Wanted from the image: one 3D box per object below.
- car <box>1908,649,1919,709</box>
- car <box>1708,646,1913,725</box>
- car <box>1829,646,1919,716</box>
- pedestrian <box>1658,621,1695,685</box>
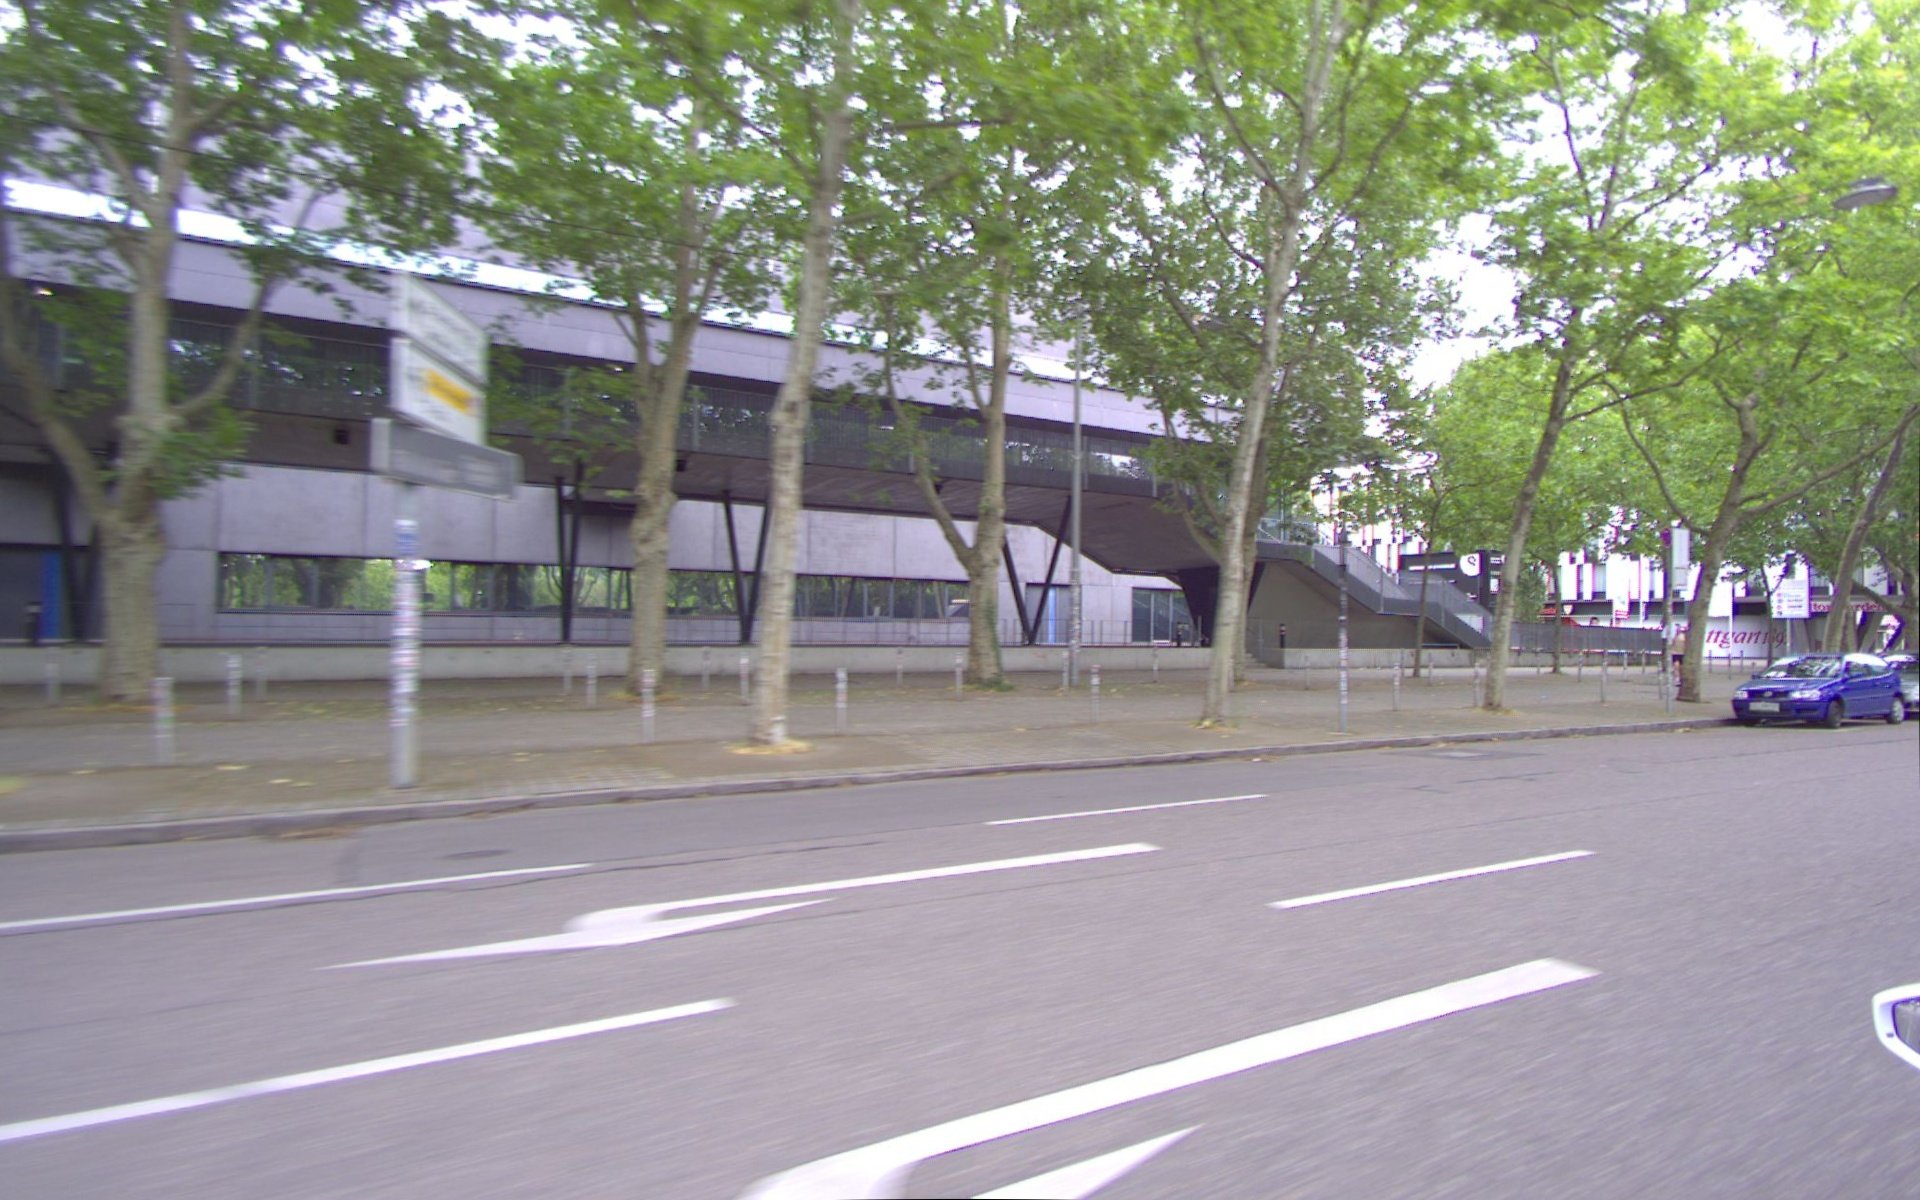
[{"bbox_3d":[24.935,1.922,24.401,3.717,1.436,1.758,3,-5,-30],"label":"car"},{"bbox_3d":[16.830,1.686,19.870,3.711,1.436,1.691,2,-5,-25],"label":"car"},{"bbox_3d":[20.938,1.790,22.091,3.721,1.436,1.756,3,-5,-33],"label":"car"},{"bbox_3d":[21.392,1.573,29.988,0.758,1.859,0.878,0,-1,26],"label":"pedestrian"}]
